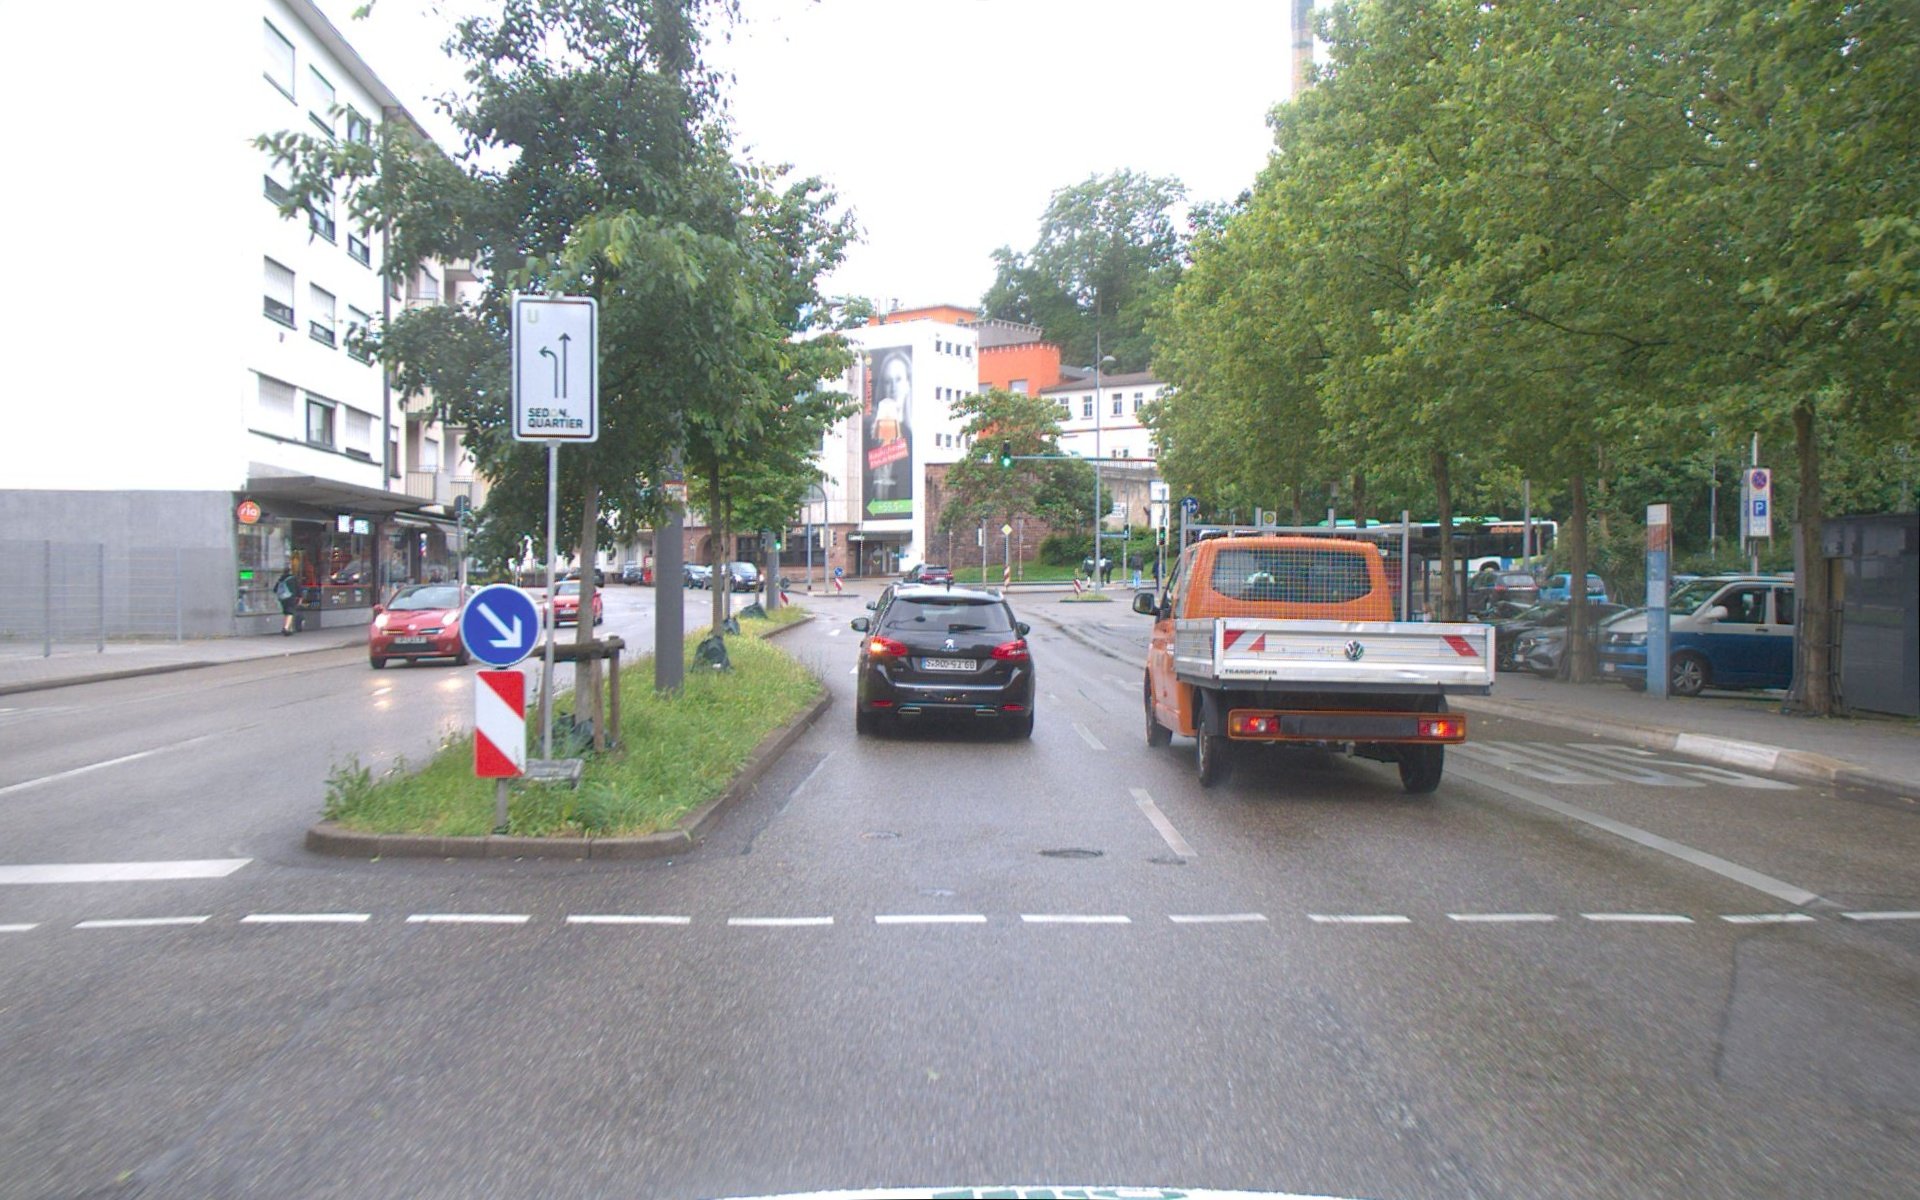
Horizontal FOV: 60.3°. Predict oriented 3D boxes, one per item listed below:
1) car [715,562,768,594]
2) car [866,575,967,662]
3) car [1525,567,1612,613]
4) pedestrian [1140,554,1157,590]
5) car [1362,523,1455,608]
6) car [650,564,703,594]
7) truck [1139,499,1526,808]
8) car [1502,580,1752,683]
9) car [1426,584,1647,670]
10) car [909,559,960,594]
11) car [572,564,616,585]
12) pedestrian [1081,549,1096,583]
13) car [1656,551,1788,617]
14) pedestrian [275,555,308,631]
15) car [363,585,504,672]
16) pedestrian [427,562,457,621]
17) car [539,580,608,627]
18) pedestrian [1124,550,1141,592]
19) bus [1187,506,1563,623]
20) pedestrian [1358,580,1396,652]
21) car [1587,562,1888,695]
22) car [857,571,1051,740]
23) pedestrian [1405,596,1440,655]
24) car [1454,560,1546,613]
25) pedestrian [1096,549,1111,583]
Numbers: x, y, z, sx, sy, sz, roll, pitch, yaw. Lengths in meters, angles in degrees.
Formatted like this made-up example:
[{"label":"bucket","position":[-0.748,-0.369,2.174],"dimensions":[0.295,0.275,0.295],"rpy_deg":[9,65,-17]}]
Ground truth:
[{"label":"car","position":[-11.935,-1.201,90.340],"dimensions":[1.627,1.591,3.565],"rpy_deg":[4,-2,-29]},{"label":"car","position":[-0.822,0.283,30.787],"dimensions":[1.759,1.509,3.999],"rpy_deg":[0,1,-2]},{"label":"car","position":[22.411,-0.376,61.001],"dimensions":[1.647,1.646,3.647],"rpy_deg":[1,0,-4]},{"label":"pedestrian","position":[9.133,-1.372,80.139],"dimensions":[0.704,1.693,0.562],"rpy_deg":[-1,2,-6]},{"label":"car","position":[16.658,-1.264,61.644],"dimensions":[2.032,3.022,4.224],"rpy_deg":[1,0,-4]},{"label":"car","position":[-19.608,-1.477,114.378],"dimensions":[1.980,1.981,3.946],"rpy_deg":[1,1,-38]},{"label":"truck","position":[2.792,0.332,13.620],"dimensions":[2.078,2.060,4.716],"rpy_deg":[1,1,0]},{"label":"car","position":[12.564,0.571,31.330],"dimensions":[3.907,1.678,1.917],"rpy_deg":[3,1,-2]},{"label":"car","position":[11.902,0.536,34.292],"dimensions":[3.907,1.535,1.743],"rpy_deg":[3,1,-2]},{"label":"car","position":[-1.313,-1.178,84.608],"dimensions":[1.619,1.591,3.582],"rpy_deg":[3,-2,-17]},{"label":"car","position":[-27.735,-1.949,125.325],"dimensions":[3.538,1.536,1.590],"rpy_deg":[2,1,43]},{"label":"pedestrian","position":[6.475,-1.698,83.363],"dimensions":[0.627,1.693,0.562],"rpy_deg":[-1,2,-6]},{"label":"car","position":[22.762,-0.445,49.538],"dimensions":[1.866,1.767,3.719],"rpy_deg":[3,-2,-7]},{"label":"pedestrian","position":[-16.908,-0.176,41.834],"dimensions":[0.627,1.893,0.523],"rpy_deg":[1,1,-7]},{"label":"car","position":[-9.561,0.473,30.298],"dimensions":[1.632,1.424,3.872],"rpy_deg":[-1,1,-5]},{"label":"pedestrian","position":[-18.381,-0.307,58.683],"dimensions":[0.721,2.049,0.648],"rpy_deg":[4,-2,-38]},{"label":"car","position":[-12.384,0.087,53.198],"dimensions":[1.658,1.426,3.657],"rpy_deg":[0,1,-5]},{"label":"pedestrian","position":[8.345,-1.402,80.168],"dimensions":[0.704,2.027,0.562],"rpy_deg":[-1,2,-6]},{"label":"bus","position":[20.077,-1.700,80.542],"dimensions":[17.557,5.302,3.098],"rpy_deg":[1,0,-2]},{"label":"pedestrian","position":[10.198,0.394,40.447],"dimensions":[0.710,1.729,0.622],"rpy_deg":[1,0,-3]},{"label":"car","position":[12.539,0.438,26.852],"dimensions":[3.906,1.958,1.969],"rpy_deg":[2,1,-2]},{"label":"car","position":[-0.121,0.496,17.264],"dimensions":[1.759,1.509,3.999],"rpy_deg":[2,0,-2]},{"label":"pedestrian","position":[11.170,0.614,39.954],"dimensions":[0.608,1.381,0.726],"rpy_deg":[1,0,-3]},{"label":"car","position":[19.899,-0.495,61.126],"dimensions":[1.794,1.857,4.224],"rpy_deg":[1,0,-4]},{"label":"pedestrian","position":[7.238,-1.726,83.485],"dimensions":[0.627,1.693,0.562],"rpy_deg":[-1,2,-6]}]
